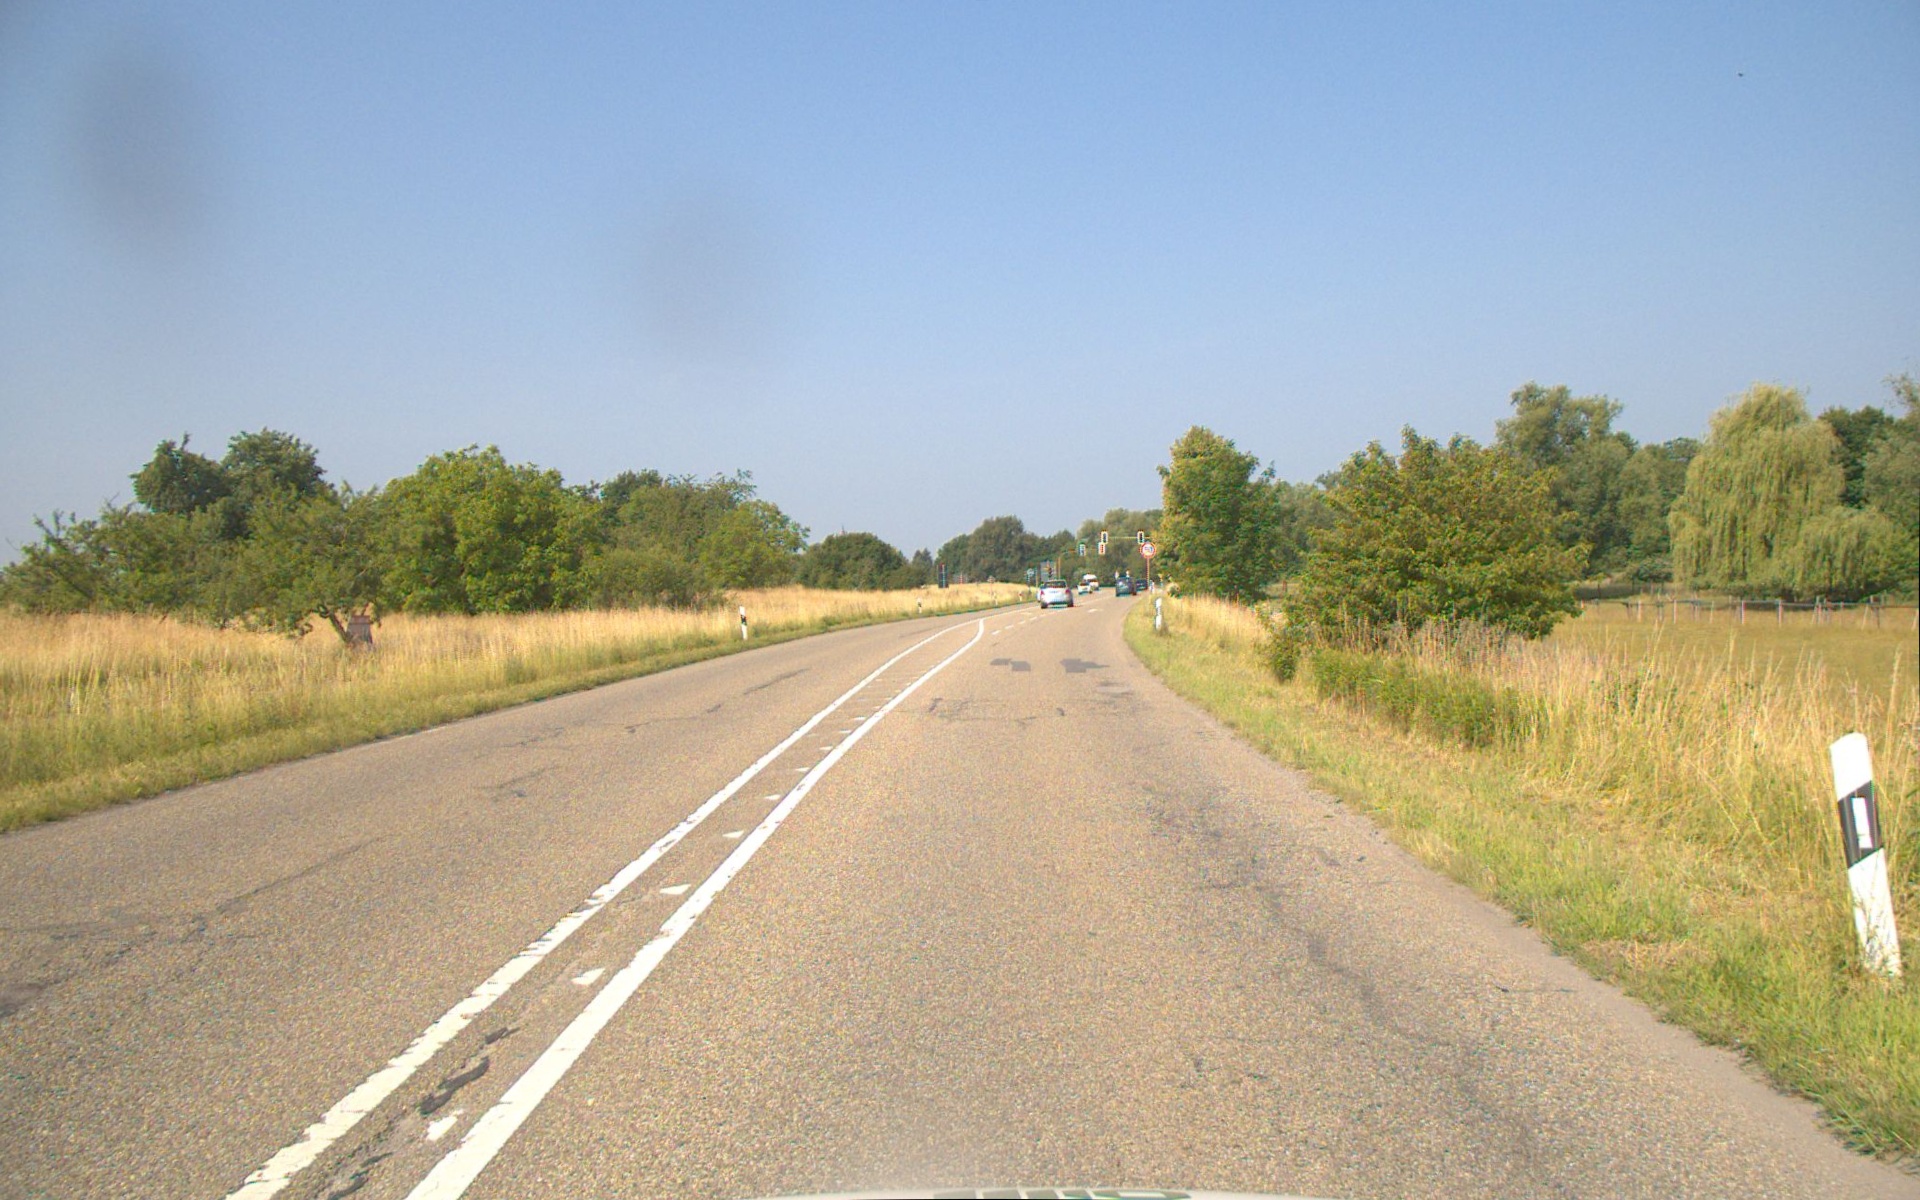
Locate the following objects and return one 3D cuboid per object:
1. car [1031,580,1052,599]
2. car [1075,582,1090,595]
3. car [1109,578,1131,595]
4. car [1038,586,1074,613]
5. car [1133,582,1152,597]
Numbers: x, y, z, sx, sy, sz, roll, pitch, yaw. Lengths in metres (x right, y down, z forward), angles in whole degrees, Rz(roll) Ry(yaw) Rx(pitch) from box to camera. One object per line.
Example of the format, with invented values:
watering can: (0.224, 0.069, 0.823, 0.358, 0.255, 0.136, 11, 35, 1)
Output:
car: (7.227, -0.924, 146.359, 1.774, 1.612, 4.227, 1, 1, 4)
car: (17.103, -1.667, 231.483, 1.796, 1.724, 3.862, -1, 0, 8)
car: (14.406, -1.208, 148.590, 1.777, 1.547, 4.003, 1, 1, 7)
car: (5.688, -0.065, 97.511, 1.859, 1.538, 4.003, 1, 1, 7)
car: (20.364, -1.181, 184.950, 1.803, 1.579, 4.002, 1, 1, 2)
